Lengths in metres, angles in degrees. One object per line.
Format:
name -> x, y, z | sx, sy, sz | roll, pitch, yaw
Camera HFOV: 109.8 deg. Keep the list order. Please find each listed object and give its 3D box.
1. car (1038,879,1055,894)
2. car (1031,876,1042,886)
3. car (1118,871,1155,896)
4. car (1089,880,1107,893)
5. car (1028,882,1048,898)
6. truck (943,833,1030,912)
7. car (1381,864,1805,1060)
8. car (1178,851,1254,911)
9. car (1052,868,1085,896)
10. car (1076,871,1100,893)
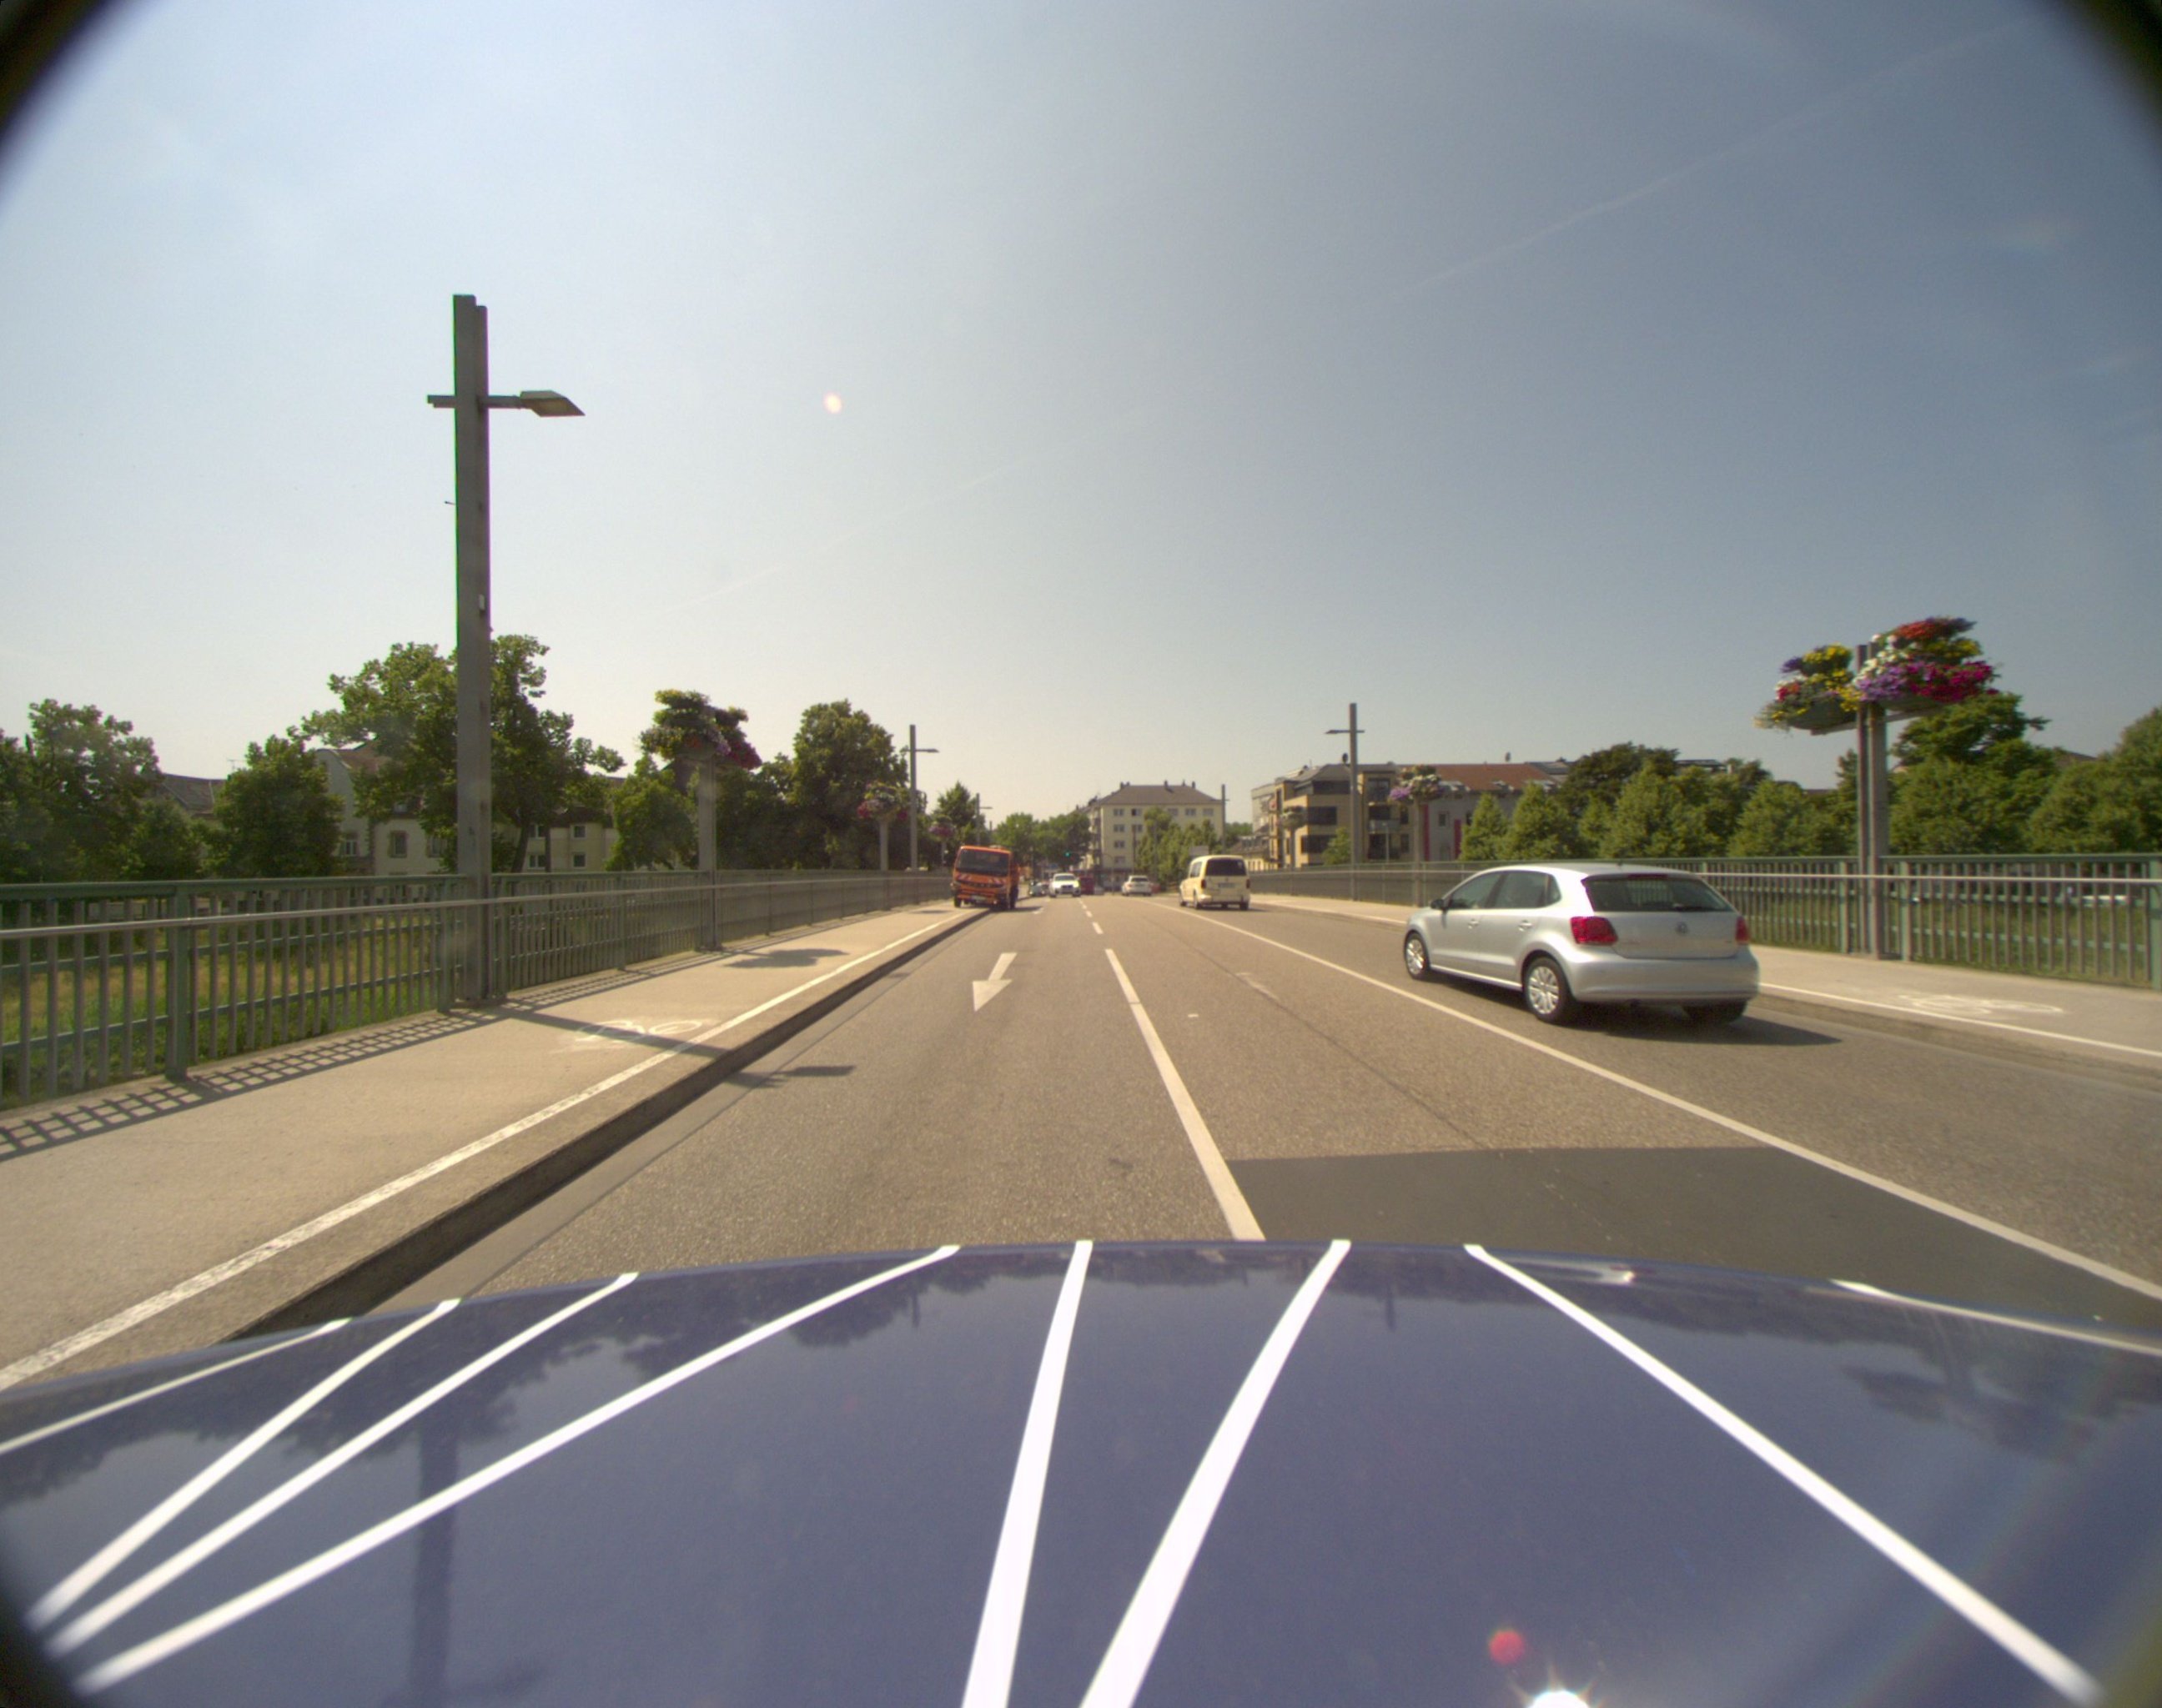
car -> -4.792, 4.493, 105.689 | 1.843, 1.849, 4.661 | -4, -1, -8
car -> -8.627, 5.160, 146.589 | 1.743, 1.631, 3.917 | 1, 0, -11
car -> 3.849, 2.044, 53.541 | 1.849, 1.424, 4.712 | -6, 0, -4
car -> 1.802, 3.568, 83.359 | 1.703, 1.350, 4.456 | 0, -1, -2
car -> -4.693, 3.878, 83.260 | 1.777, 1.480, 3.997 | -2, 0, -9
truck -> -3.461, 0.703, 29.137 | 2.612, 2.674, 5.824 | -1, -1, -1
car -> 4.844, 0.883, 8.015 | 1.765, 1.510, 4.000 | 1, 0, 0
car -> 4.601, 0.890, 26.525 | 1.763, 1.846, 4.646 | -2, 0, 0
car -> -0.914, 1.866, 51.680 | 1.999, 1.739, 4.444 | -2, 0, -4
car -> 0.612, 2.481, 67.017 | 1.741, 1.766, 4.175 | -3, -1, -4
